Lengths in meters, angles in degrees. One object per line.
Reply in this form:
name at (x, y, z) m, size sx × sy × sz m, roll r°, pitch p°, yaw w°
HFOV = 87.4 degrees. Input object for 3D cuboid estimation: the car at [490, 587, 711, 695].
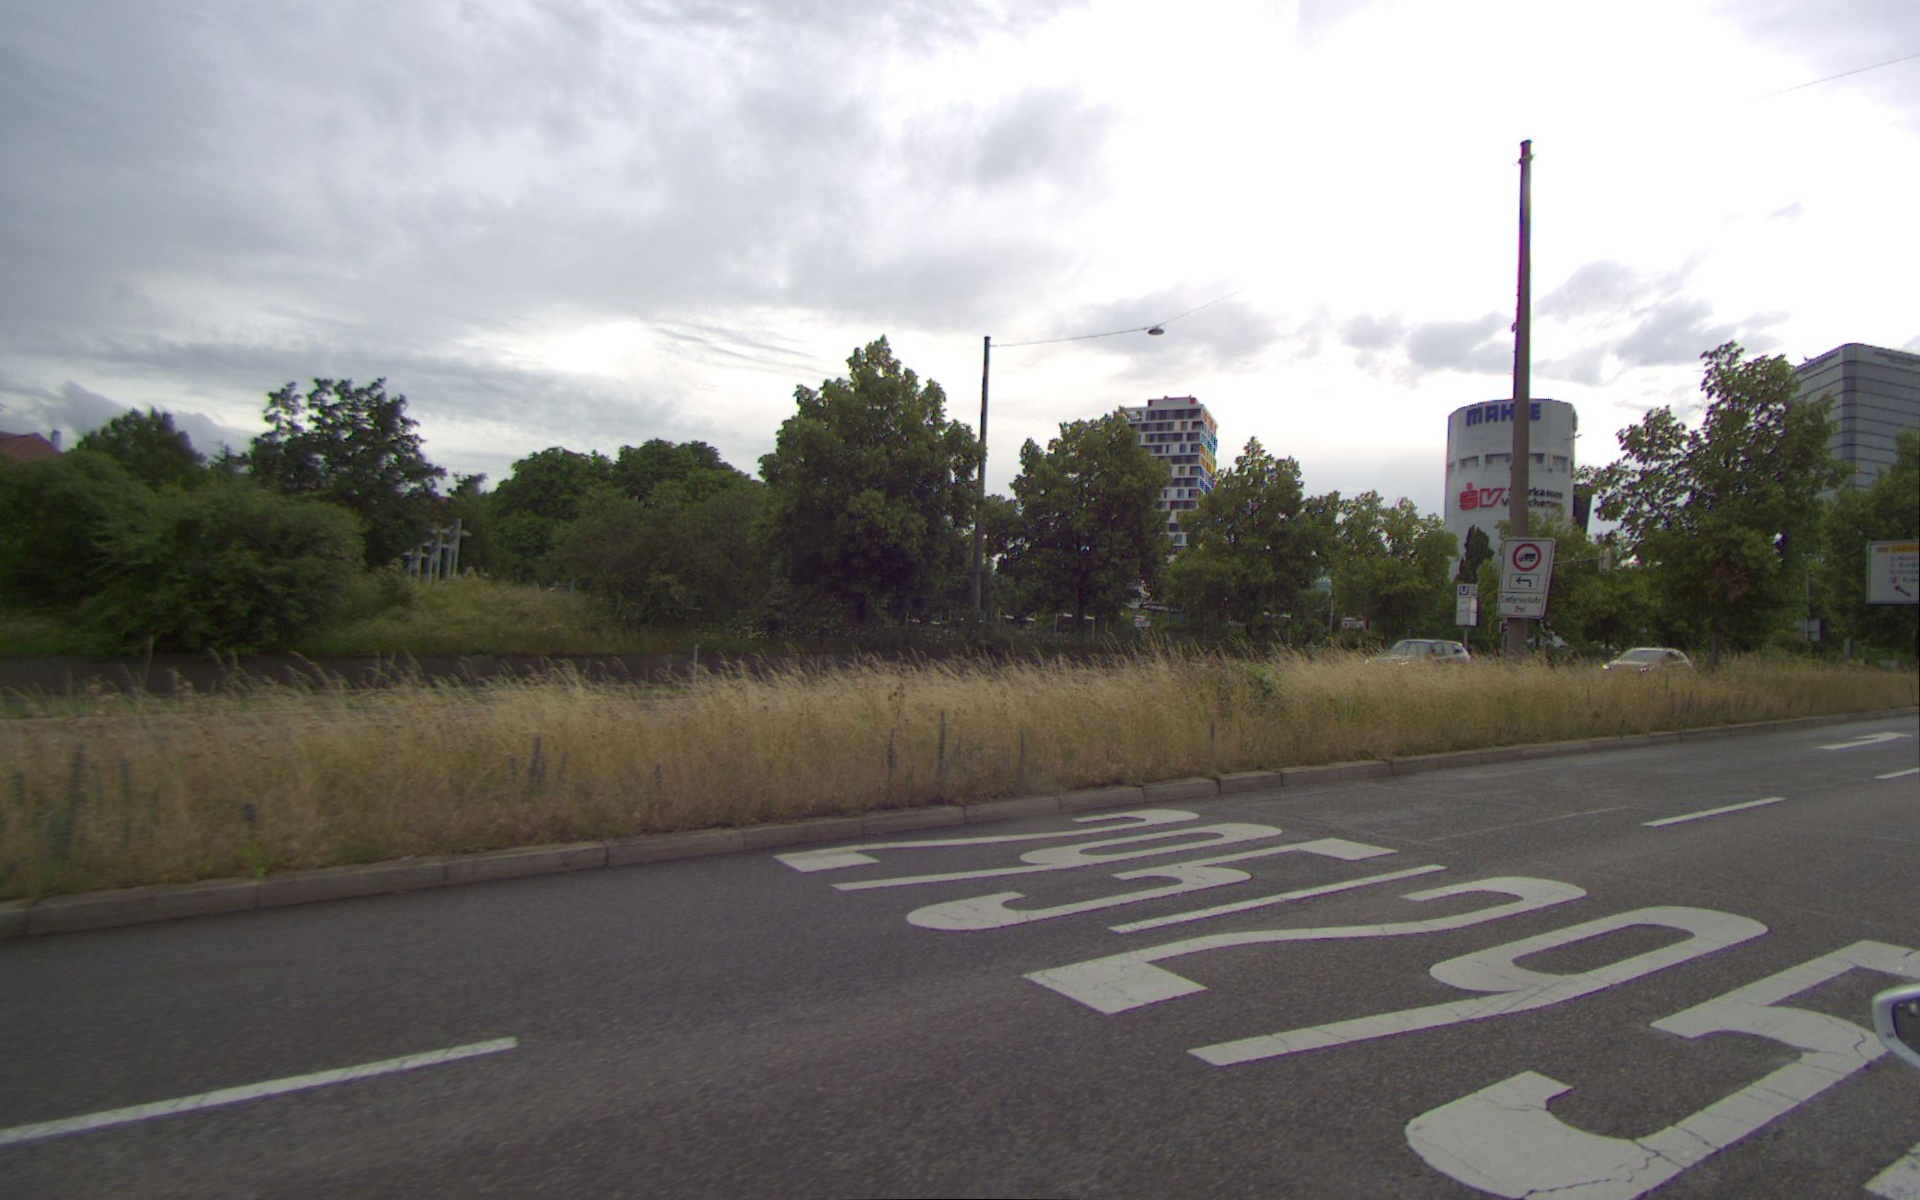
car at (-7.496, 0.908, 21.054) m, size 3.962 × 2.039 × 1.980 m, roll 3°, pitch -4°, yaw -36°

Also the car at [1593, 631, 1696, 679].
car at (25.342, 2.012, 37.177) m, size 3.982 × 1.661 × 1.979 m, roll 2°, pitch -2°, yaw -37°

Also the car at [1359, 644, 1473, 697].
car at (15.431, 2.345, 33.933) m, size 3.963 × 1.641 × 1.848 m, roll 2°, pitch -2°, yaw -37°
